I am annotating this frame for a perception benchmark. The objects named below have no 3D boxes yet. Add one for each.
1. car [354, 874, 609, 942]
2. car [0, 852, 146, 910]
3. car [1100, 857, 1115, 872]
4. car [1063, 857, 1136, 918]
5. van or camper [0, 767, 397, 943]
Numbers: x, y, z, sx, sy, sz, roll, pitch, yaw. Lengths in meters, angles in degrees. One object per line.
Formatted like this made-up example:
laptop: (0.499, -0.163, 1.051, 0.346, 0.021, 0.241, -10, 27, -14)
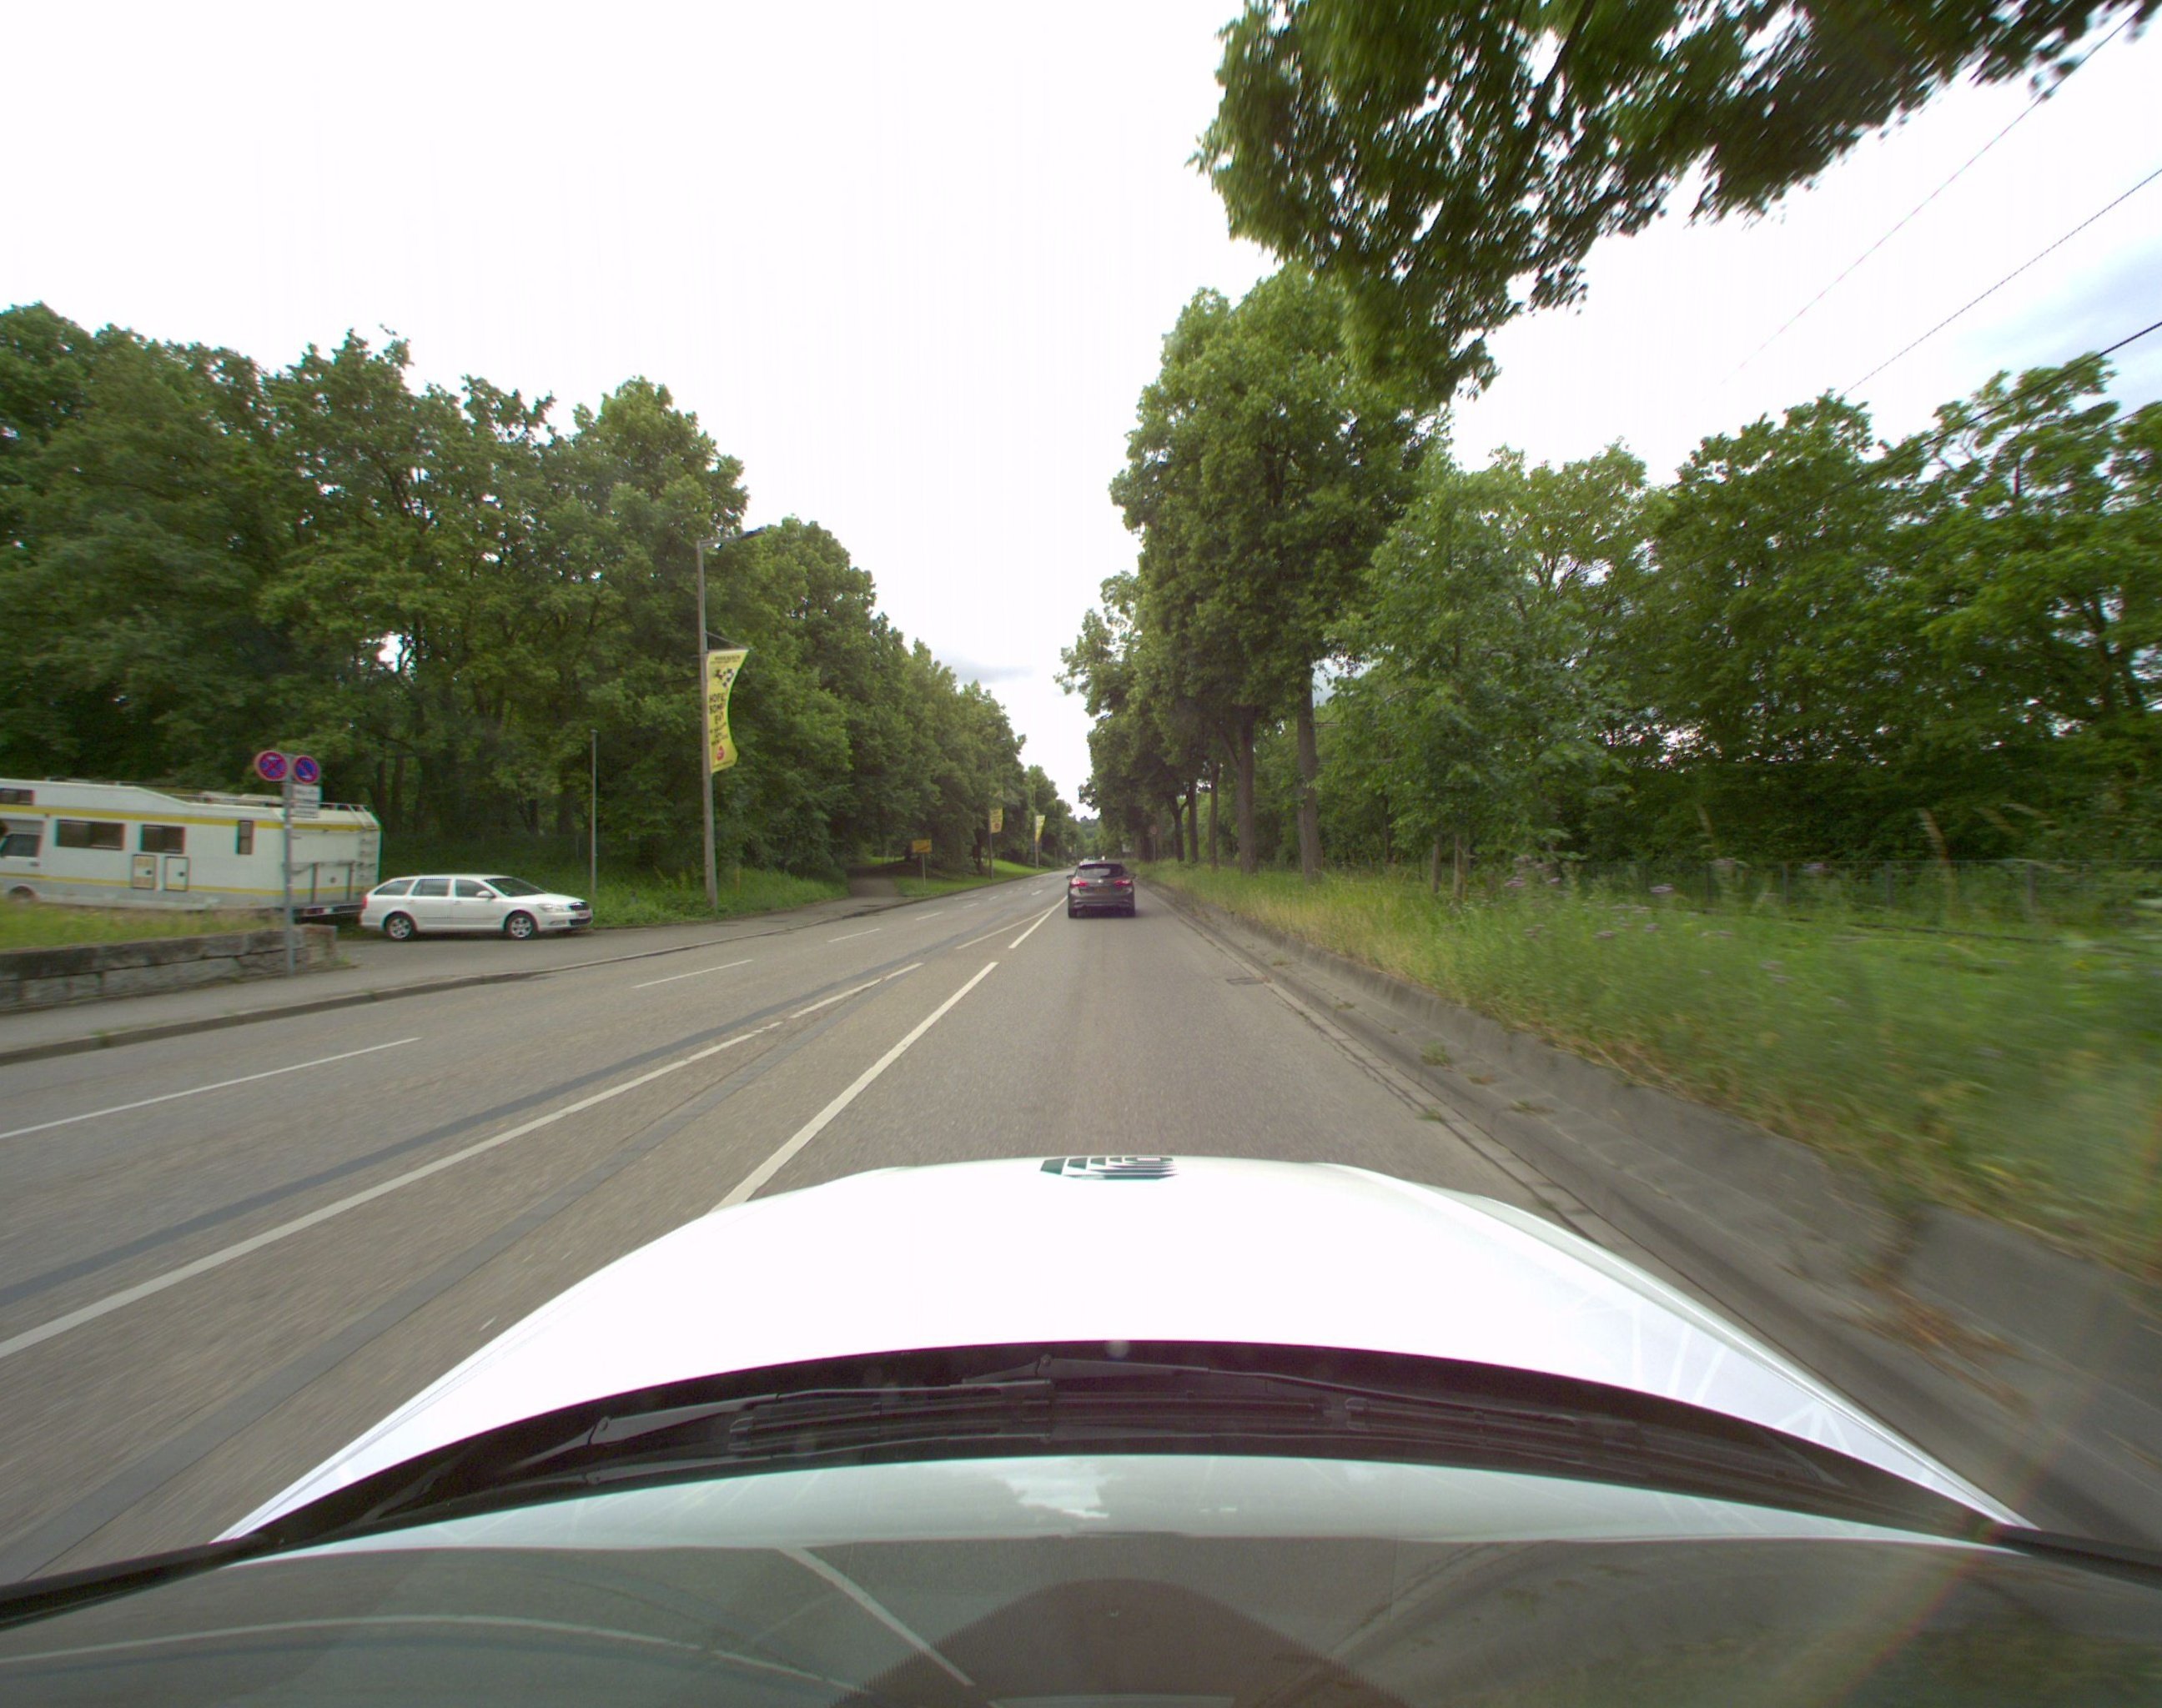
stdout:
car: (-13.693, 1.209, 18.823, 4.362, 1.441, 1.960, 0, -1, -1)
car: (-25.702, 0.626, 19.693, 1.508, 1.346, 3.879, 1, -1, 4)
car: (2.794, 1.097, 84.815, 1.497, 1.529, 3.674, -1, -1, 3)
car: (0.582, 0.872, 22.736, 1.829, 1.529, 3.932, -1, -1, 3)
van or camper: (-20.597, -0.006, 18.766, 7.115, 3.371, 2.797, 3, 0, 1)
